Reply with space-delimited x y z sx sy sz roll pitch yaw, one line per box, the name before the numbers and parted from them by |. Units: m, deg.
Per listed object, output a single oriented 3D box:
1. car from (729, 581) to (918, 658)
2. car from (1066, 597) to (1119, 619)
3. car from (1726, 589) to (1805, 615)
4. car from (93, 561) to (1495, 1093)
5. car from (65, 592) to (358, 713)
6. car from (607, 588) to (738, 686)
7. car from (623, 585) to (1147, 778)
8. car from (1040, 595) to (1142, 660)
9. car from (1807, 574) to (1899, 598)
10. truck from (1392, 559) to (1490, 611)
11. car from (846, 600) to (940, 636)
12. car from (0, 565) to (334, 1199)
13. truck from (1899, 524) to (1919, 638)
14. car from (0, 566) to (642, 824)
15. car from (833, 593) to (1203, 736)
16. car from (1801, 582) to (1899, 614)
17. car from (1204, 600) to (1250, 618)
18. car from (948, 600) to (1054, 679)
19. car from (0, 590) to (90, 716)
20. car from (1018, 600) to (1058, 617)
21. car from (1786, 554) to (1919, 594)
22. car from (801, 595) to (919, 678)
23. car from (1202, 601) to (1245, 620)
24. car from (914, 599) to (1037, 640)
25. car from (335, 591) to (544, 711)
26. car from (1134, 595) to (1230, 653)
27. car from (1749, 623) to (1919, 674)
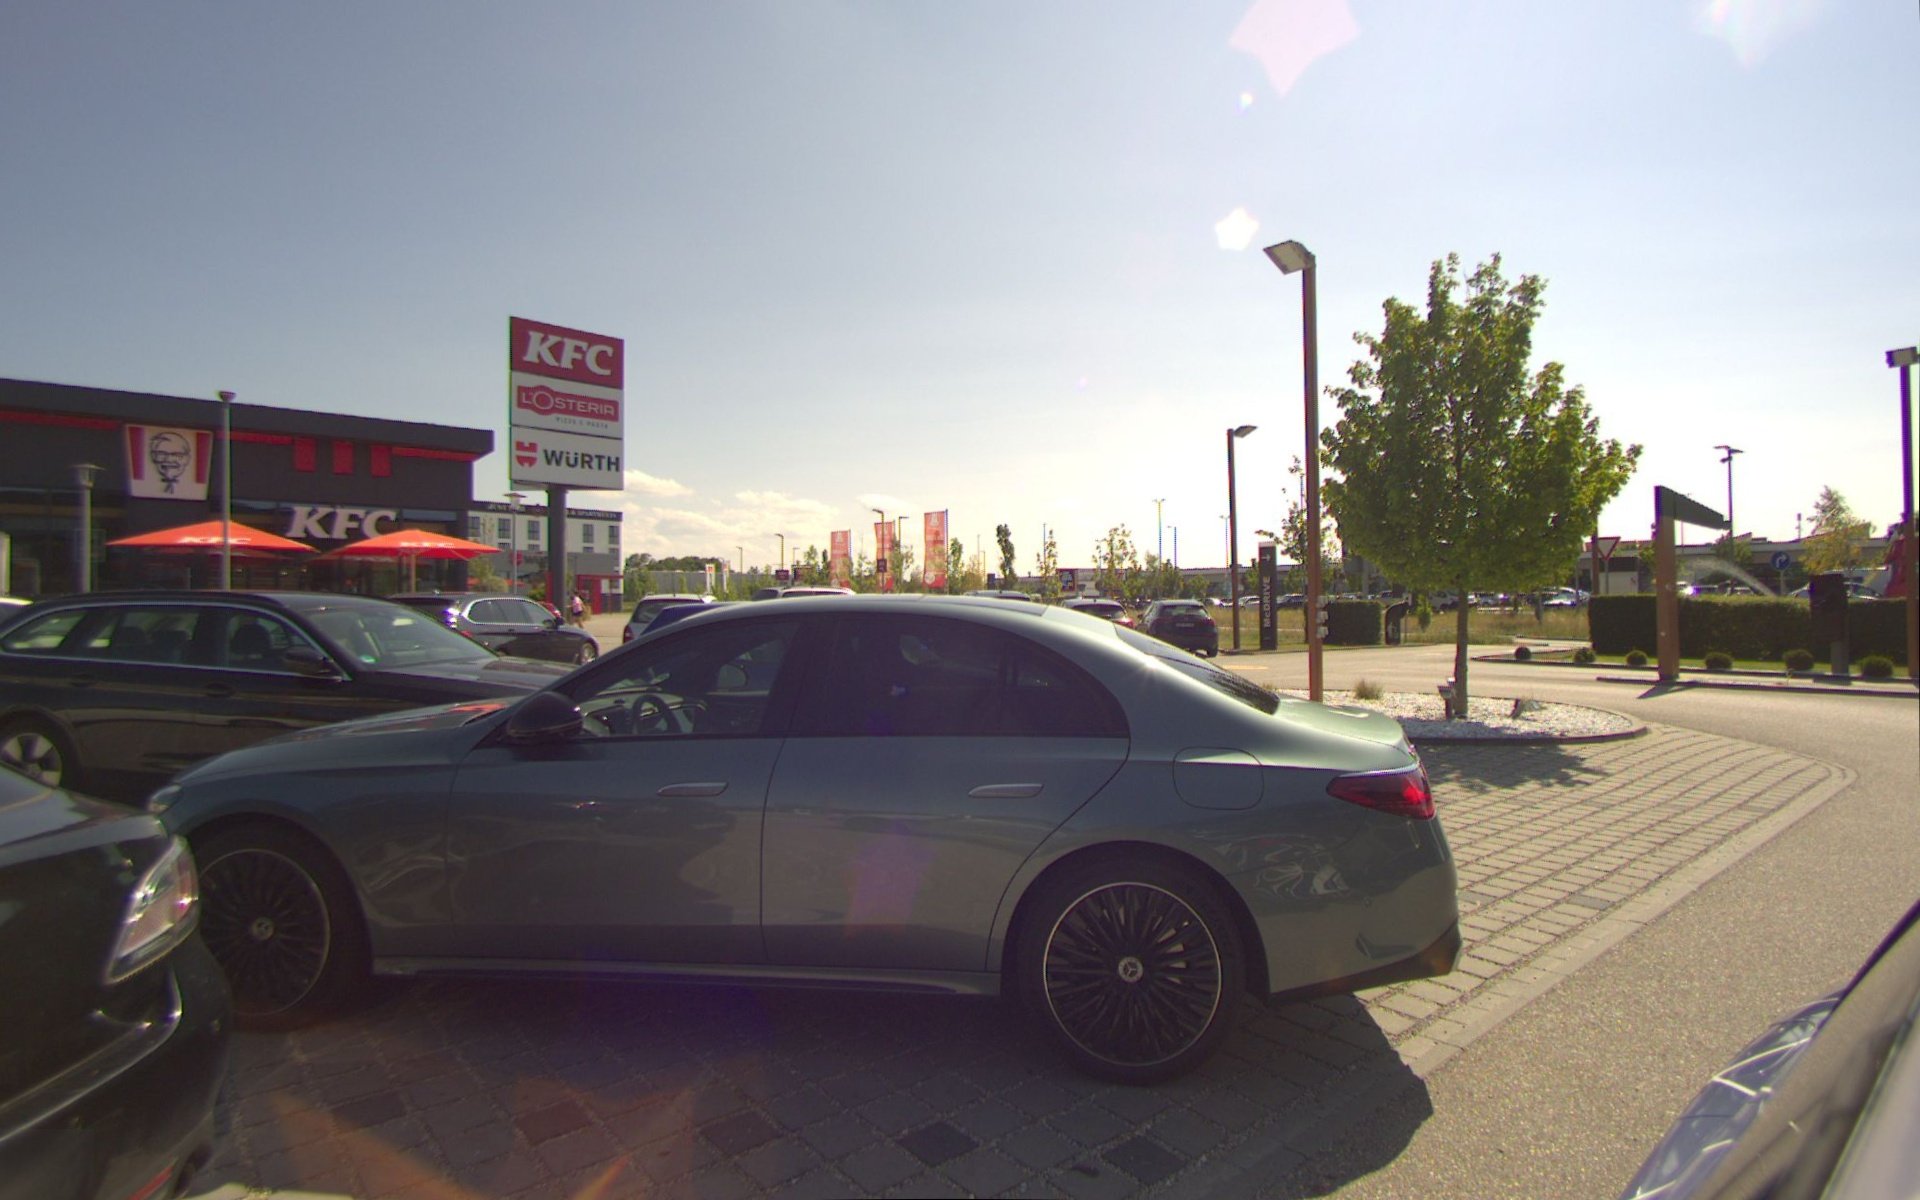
car | -3.388 0.445 25.489 4.289 1.772 2.070 0 0 -40
car | 9.545 0.569 73.272 1.767 1.579 3.776 0 0 -33
car | 55.630 0.150 69.913 4.169 1.750 1.897 0 0 -9
car | -0.599 0.666 4.096 4.463 1.530 1.884 0 0 6
car | -10.082 0.625 14.059 1.783 1.421 4.007 0 0 -12
car | -5.007 0.582 18.140 1.742 1.530 4.358 0 0 -9
car | -0.587 0.659 9.271 4.340 1.530 1.980 0 0 6
car | 3.105 0.619 24.754 1.762 1.440 4.088 0 0 -3
car | 53.136 -0.819 60.266 1.636 1.359 3.902 0 0 -41
truck | 32.998 -1.008 69.768 2.373 3.394 7.576 0 0 -7
car | -2.848 0.758 43.291 3.682 1.472 1.688 0 0 -33
car | -3.522 0.687 1.665 4.006 1.467 1.825 0 0 7
truck | 36.825 -0.651 32.746 3.153 3.916 9.117 0 0 -40
car | -4.750 0.573 7.207 4.340 1.530 1.980 0 0 6
car | 0.654 0.650 11.341 3.837 1.444 1.703 0 0 7
car | 49.737 -0.093 56.591 1.863 1.750 3.989 0 0 -44
car | 21.398 0.680 81.072 3.153 1.402 1.543 0 0 -13
car | 0.791 0.796 22.270 1.770 1.576 4.059 0 0 -6
car | -12.309 0.630 11.016 1.878 1.490 4.472 0 0 -1
car | 6.958 0.744 90.119 1.725 1.482 4.005 0 0 -27
car | 55.378 -1.536 62.414 2.260 2.273 6.561 0 0 -40
car | -1.825 0.635 19.820 1.681 1.429 4.679 0 0 2
car | 22.558 0.922 86.656 3.153 1.576 1.543 0 0 -13
car | 0.581 0.673 36.558 4.074 1.416 1.889 0 0 -33
car | -7.428 0.643 14.878 1.783 1.508 4.007 0 0 -13
car | 5.824 0.610 26.983 1.878 1.440 3.772 0 0 3
car | 27.781 1.495 32.001 4.308 1.440 1.708 0 0 44
